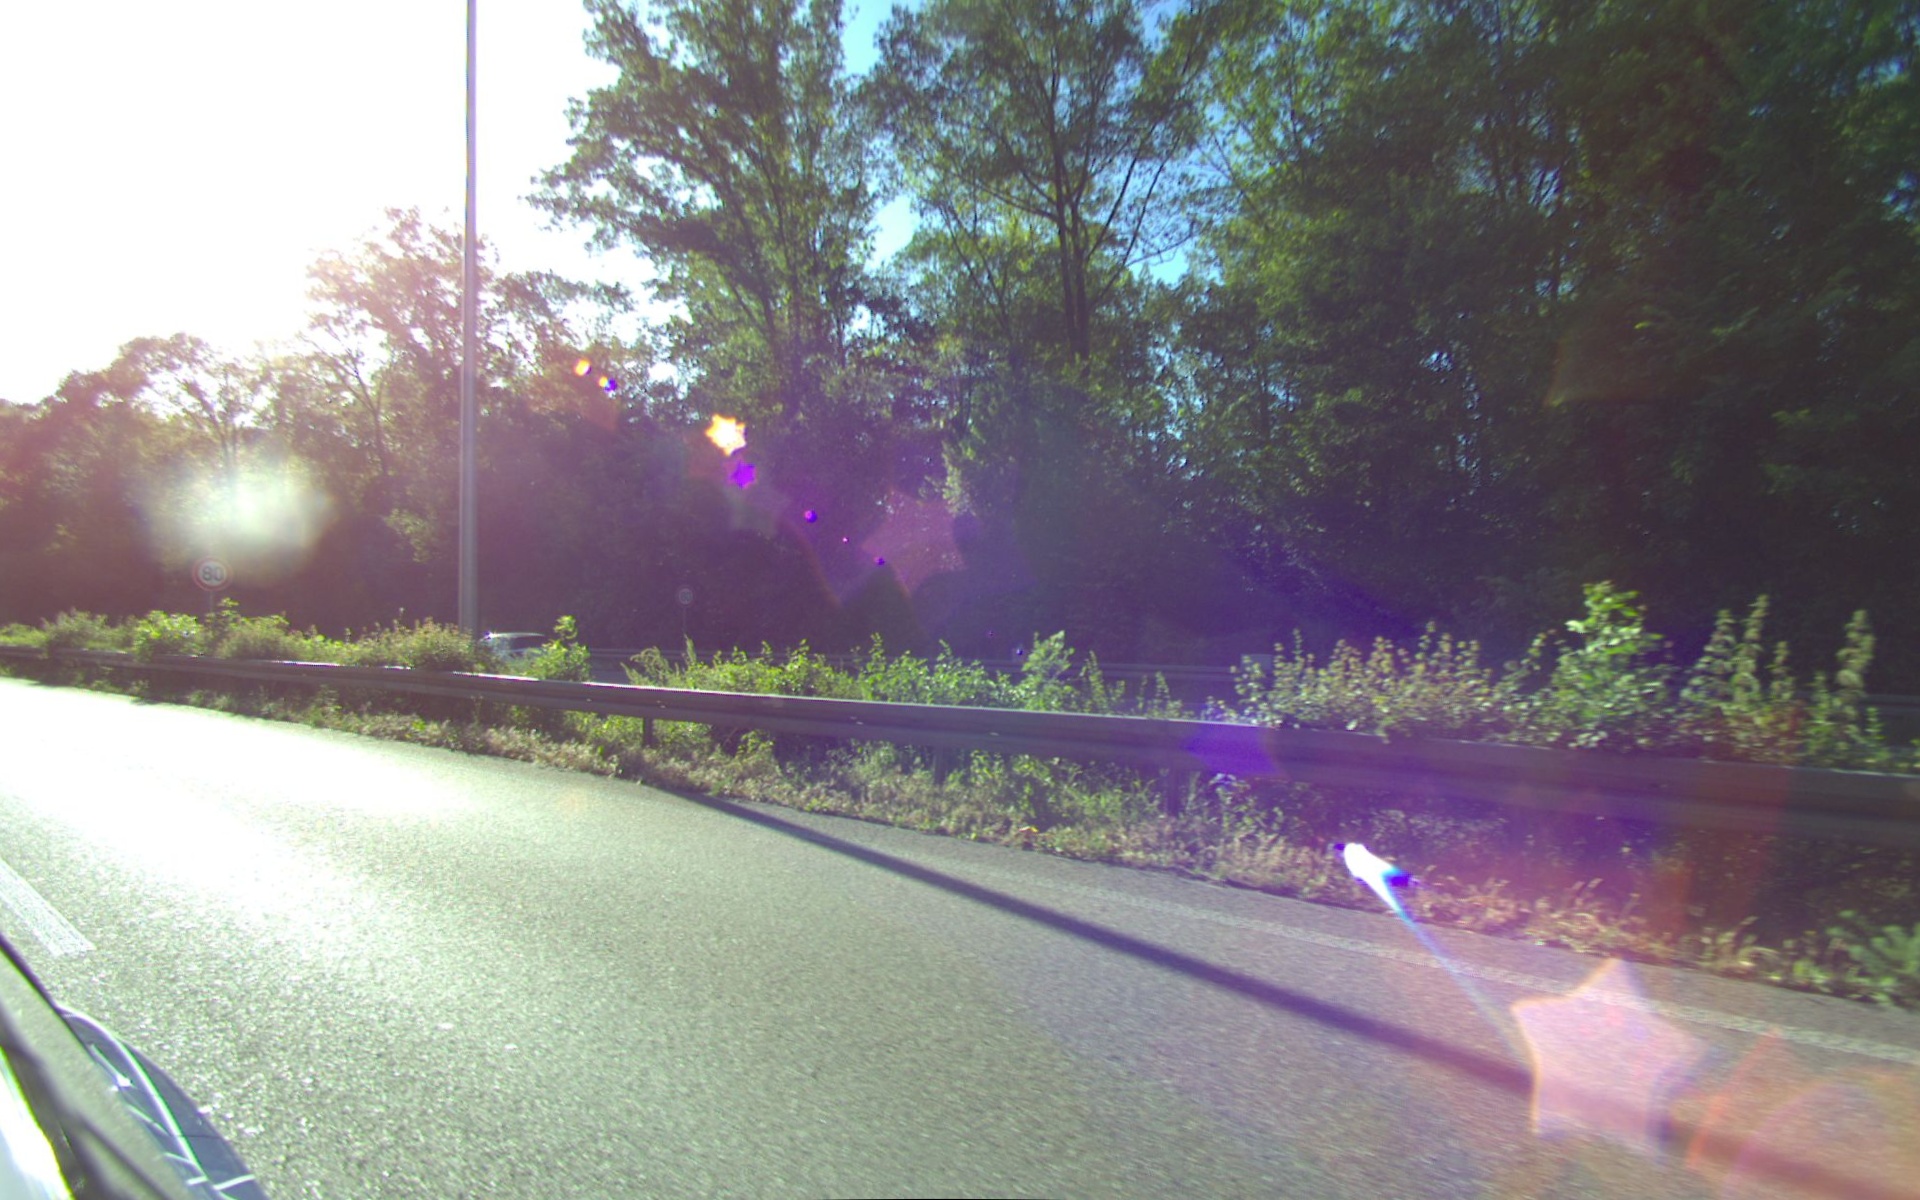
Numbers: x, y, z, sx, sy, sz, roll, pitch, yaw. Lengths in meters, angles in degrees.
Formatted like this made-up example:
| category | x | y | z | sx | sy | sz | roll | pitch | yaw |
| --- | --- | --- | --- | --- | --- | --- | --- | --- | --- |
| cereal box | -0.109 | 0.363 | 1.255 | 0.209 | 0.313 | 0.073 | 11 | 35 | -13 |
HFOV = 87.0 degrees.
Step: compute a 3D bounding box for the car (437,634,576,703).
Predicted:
| category | x | y | z | sx | sy | sz | roll | pitch | yaw |
| --- | --- | --- | --- | --- | --- | --- | --- | --- | --- |
| car | -13.352 | 1.951 | 29.715 | 4.288 | 1.798 | 1.975 | -1 | -1 | 38 |
